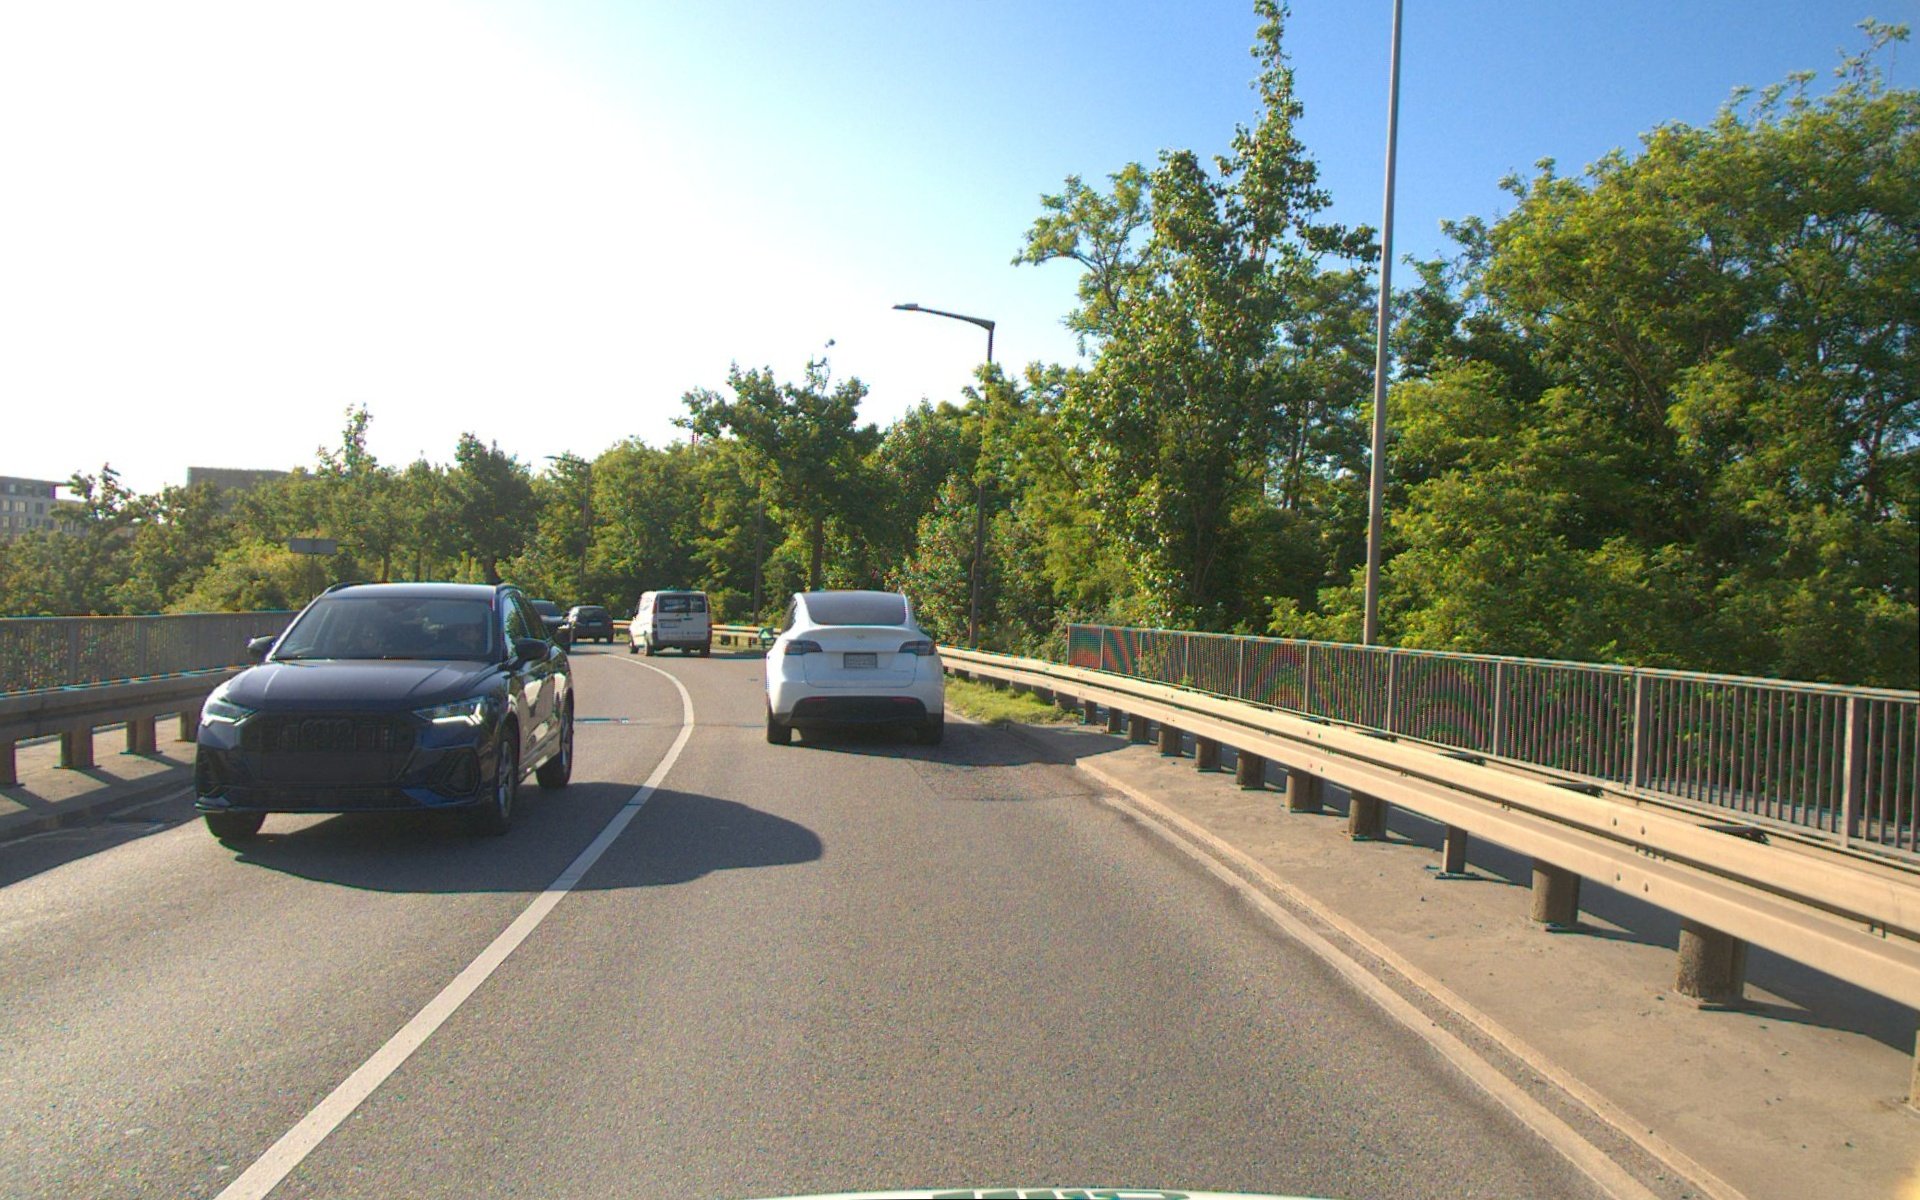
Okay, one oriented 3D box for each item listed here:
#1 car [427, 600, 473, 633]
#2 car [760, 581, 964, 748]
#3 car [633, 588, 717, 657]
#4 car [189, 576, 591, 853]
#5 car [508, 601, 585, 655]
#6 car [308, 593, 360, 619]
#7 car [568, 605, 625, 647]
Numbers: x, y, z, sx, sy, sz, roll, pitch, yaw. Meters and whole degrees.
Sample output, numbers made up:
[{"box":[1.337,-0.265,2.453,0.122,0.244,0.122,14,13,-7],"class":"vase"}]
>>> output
[{"box":[-26.201,0.819,84.937,1.835,1.613,3.885,0,0,-24],"class":"car"},{"box":[-1.223,0.653,18.726,1.948,1.666,4.054,0,0,-9],"class":"car"},{"box":[-8.572,0.642,49.503,1.973,1.974,4.447,0,0,-17],"class":"car"},{"box":[-3.741,0.651,11.626,1.789,1.579,4.179,0,0,-6],"class":"car"},{"box":[-13.338,0.861,53.240,1.871,1.671,4.435,0,0,-21],"class":"car"},{"box":[-38.516,0.371,101.757,1.824,1.583,3.836,0,0,-40],"class":"car"},{"box":[-14.391,0.996,65.329,1.830,1.613,3.894,0,0,-18],"class":"car"}]
